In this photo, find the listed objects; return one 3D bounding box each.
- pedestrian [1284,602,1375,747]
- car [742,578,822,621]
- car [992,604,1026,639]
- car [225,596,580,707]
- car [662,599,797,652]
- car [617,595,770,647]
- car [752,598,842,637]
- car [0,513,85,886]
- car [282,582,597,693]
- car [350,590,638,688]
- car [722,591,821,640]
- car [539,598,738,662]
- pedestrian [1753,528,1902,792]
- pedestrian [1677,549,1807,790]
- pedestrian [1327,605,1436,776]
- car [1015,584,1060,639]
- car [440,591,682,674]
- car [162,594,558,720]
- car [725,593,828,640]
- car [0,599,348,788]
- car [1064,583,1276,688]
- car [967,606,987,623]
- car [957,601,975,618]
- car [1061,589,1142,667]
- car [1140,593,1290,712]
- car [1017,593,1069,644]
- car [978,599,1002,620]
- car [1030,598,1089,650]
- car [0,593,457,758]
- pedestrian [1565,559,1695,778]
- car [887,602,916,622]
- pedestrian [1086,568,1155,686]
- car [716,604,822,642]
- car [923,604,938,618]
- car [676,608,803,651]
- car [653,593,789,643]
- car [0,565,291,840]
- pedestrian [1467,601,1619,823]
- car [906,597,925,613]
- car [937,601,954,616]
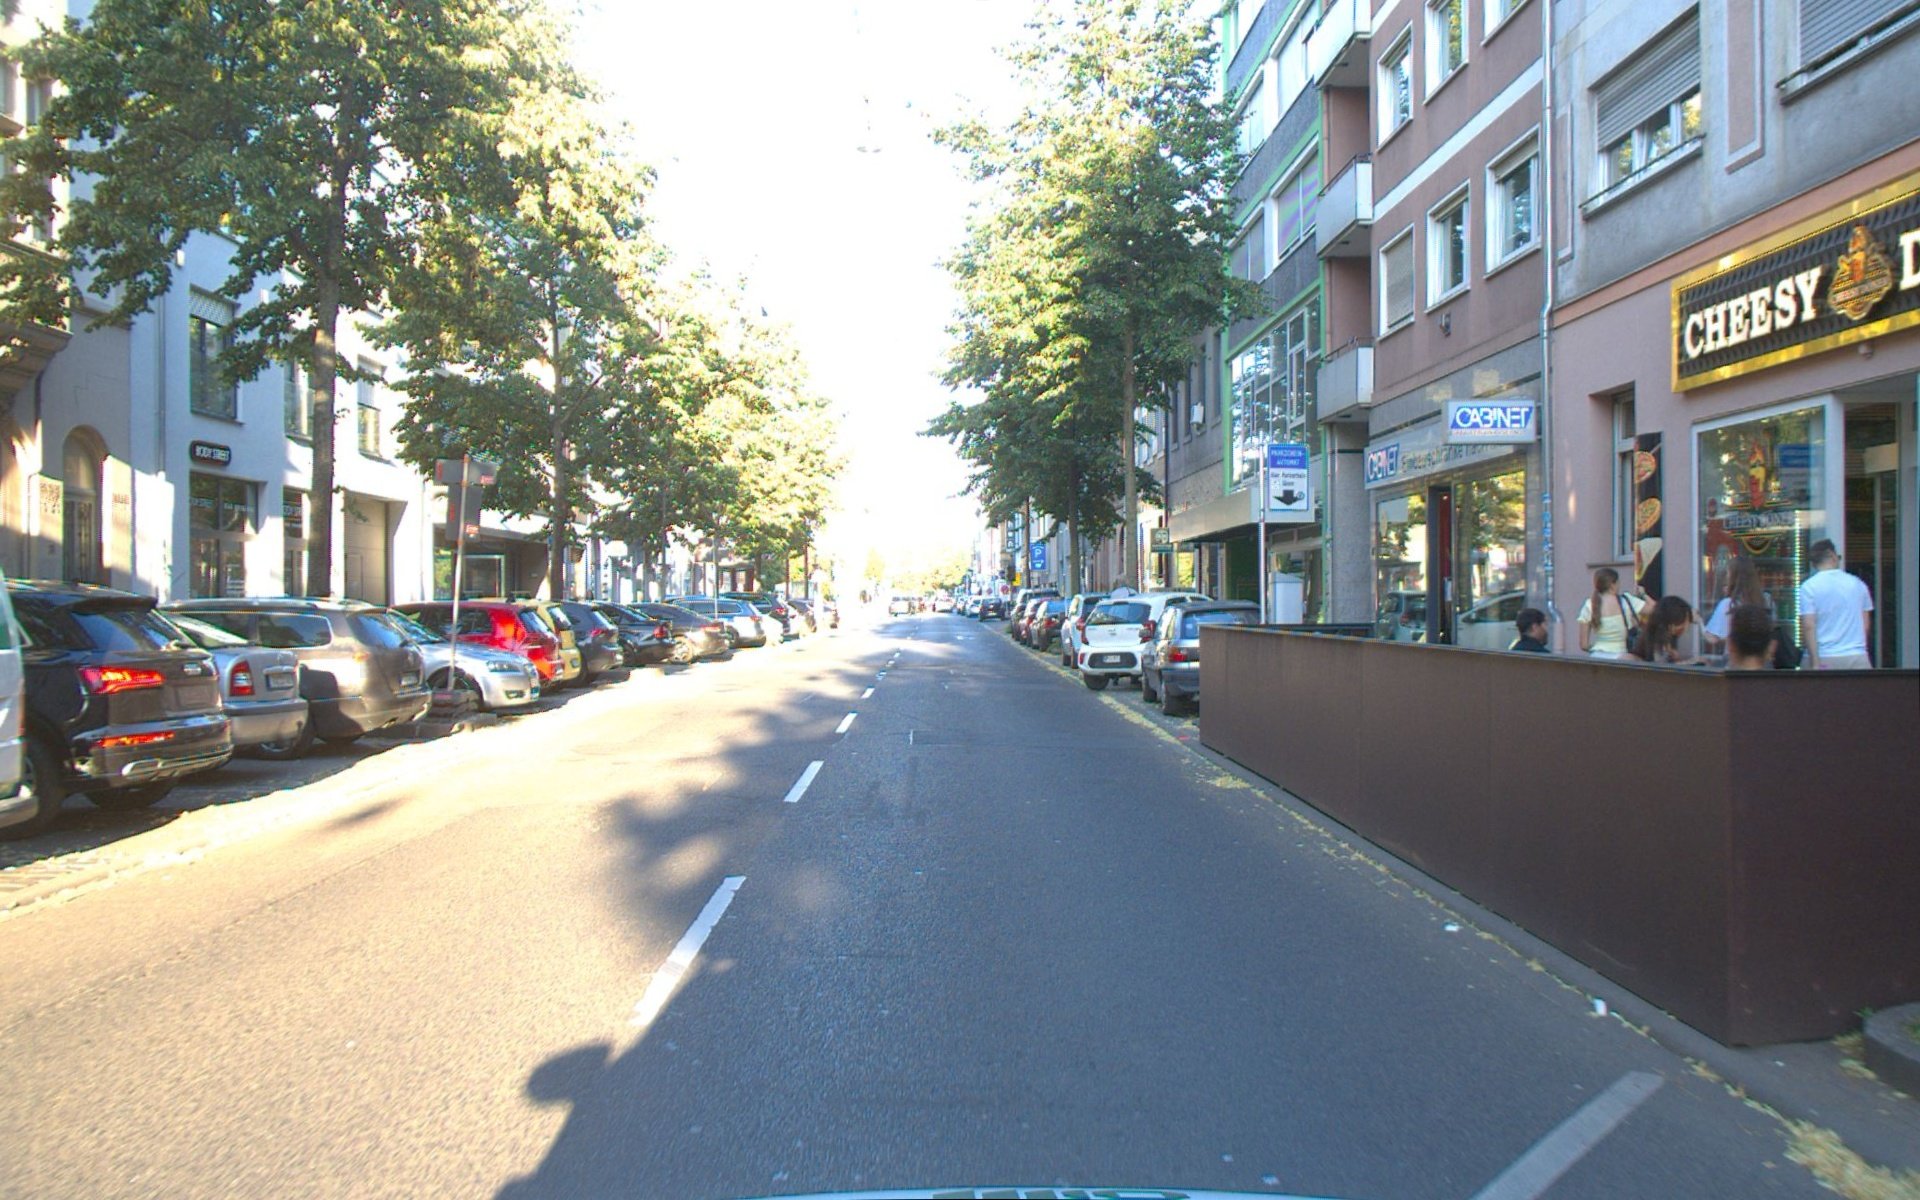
[{"bbox_3d":[3.670,0.724,16.467,0.711,1.402,0.781,0,0,-1],"label":"pedestrian"},{"bbox_3d":[-10.152,-0.027,94.314,4.351,2.477,1.919,0,0,0],"label":"car"},{"bbox_3d":[2.280,1.010,77.529,1.482,1.589,3.773,0,0,0],"label":"car"},{"bbox_3d":[-7.753,0.700,23.305,4.351,1.484,1.859,0,0,0],"label":"car"},{"bbox_3d":[-7.892,0.863,56.898,4.351,1.790,1.919,0,0,0],"label":"car"},{"bbox_3d":[-8.095,0.632,50.491,4.351,1.549,1.919,0,0,0],"label":"car"},{"bbox_3d":[-8.270,0.887,84.219,4.351,1.994,1.919,0,0,0],"label":"car"},{"bbox_3d":[-7.380,0.523,8.684,4.479,1.996,1.990,0,0,-1],"label":"car"},{"bbox_3d":[-8.111,0.577,26.057,4.351,1.667,1.859,0,0,0],"label":"car"},{"bbox_3d":[-7.886,0.650,28.290,4.351,1.595,1.919,0,0,0],"label":"car"},{"bbox_3d":[-8.664,0.703,76.239,4.351,2.238,1.919,0,0,0],"label":"car"},{"bbox_3d":[-7.627,0.709,39.530,4.351,1.474,1.919,0,0,0],"label":"car"},{"bbox_3d":[6.282,0.419,12.022,0.683,1.836,0.892,0,0,7],"label":"pedestrian"},{"bbox_3d":[5.769,0.494,12.244,0.617,1.709,0.892,0,0,7],"label":"pedestrian"},{"bbox_3d":[3.553,0.746,14.000,0.711,1.402,0.781,0,0,-1],"label":"pedestrian"},{"bbox_3d":[2.741,0.413,59.118,1.482,1.897,4.235,0,0,1],"label":"car"},{"bbox_3d":[-7.889,0.639,33.004,4.351,1.595,1.919,0,0,0],"label":"car"},{"bbox_3d":[-7.506,0.695,21.004,4.351,1.510,1.809,0,0,0],"label":"car"},{"bbox_3d":[-8.169,0.748,73.930,4.351,2.051,1.919,0,0,0],"label":"car"},{"bbox_3d":[-7.707,0.738,14.020,4.351,1.493,1.779,0,0,0],"label":"car"},{"bbox_3d":[3.536,0.543,27.406,1.645,1.616,3.801,0,0,41],"label":"car"},{"bbox_3d":[1.250,1.099,124.886,1.482,1.285,3.303,0,0,0],"label":"car"},{"bbox_3d":[0.606,0.898,159.157,1.716,1.567,3.303,-1,0,0],"label":"car"},{"bbox_3d":[2.988,0.583,35.455,1.482,1.605,3.218,0,0,0],"label":"car"},{"bbox_3d":[3.347,0.652,22.255,1.511,1.458,3.678,0,0,1],"label":"car"},{"bbox_3d":[2.625,0.571,52.807,1.482,1.589,3.513,0,0,0],"label":"car"},{"bbox_3d":[1.913,0.628,106.793,1.482,1.298,3.303,0,0,0],"label":"car"},{"bbox_3d":[2.838,0.678,47.588,1.482,1.430,3.836,0,0,0],"label":"car"},{"bbox_3d":[-7.469,0.712,16.452,4.351,1.533,1.844,0,0,0],"label":"car"},{"bbox_3d":[5.244,0.516,12.997,0.779,1.654,0.913,0,0,11],"label":"pedestrian"},{"bbox_3d":[-4.723,0.946,133.248,1.886,1.599,3.306,0,0,6],"label":"car"},{"bbox_3d":[2.702,0.449,27.893,0.900,1.959,1.015,1,0,-11],"label":"pedestrian"},{"bbox_3d":[-8.183,0.989,71.104,4.351,1.606,1.919,0,0,0],"label":"car"},{"bbox_3d":[-3.348,1.220,187.158,1.537,1.532,3.303,-1,0,0],"label":"car"},{"bbox_3d":[-7.955,1.051,60.016,4.351,1.525,1.919,0,0,0],"label":"car"},{"bbox_3d":[-7.870,0.591,54.799,4.216,1.626,1.919,0,0,0],"label":"car"},{"bbox_3d":[-7.298,0.642,11.441,4.478,1.727,2.060,0,0,0],"label":"car"},{"bbox_3d":[3.814,0.710,10.873,0.711,1.402,0.781,0,0,-1],"label":"pedestrian"},{"bbox_3d":[-4.481,0.556,167.140,1.716,1.567,3.303,-1,0,0],"label":"car"},{"bbox_3d":[-1.526,0.881,173.426,1.685,1.501,3.303,-1,0,0],"label":"car"}]
